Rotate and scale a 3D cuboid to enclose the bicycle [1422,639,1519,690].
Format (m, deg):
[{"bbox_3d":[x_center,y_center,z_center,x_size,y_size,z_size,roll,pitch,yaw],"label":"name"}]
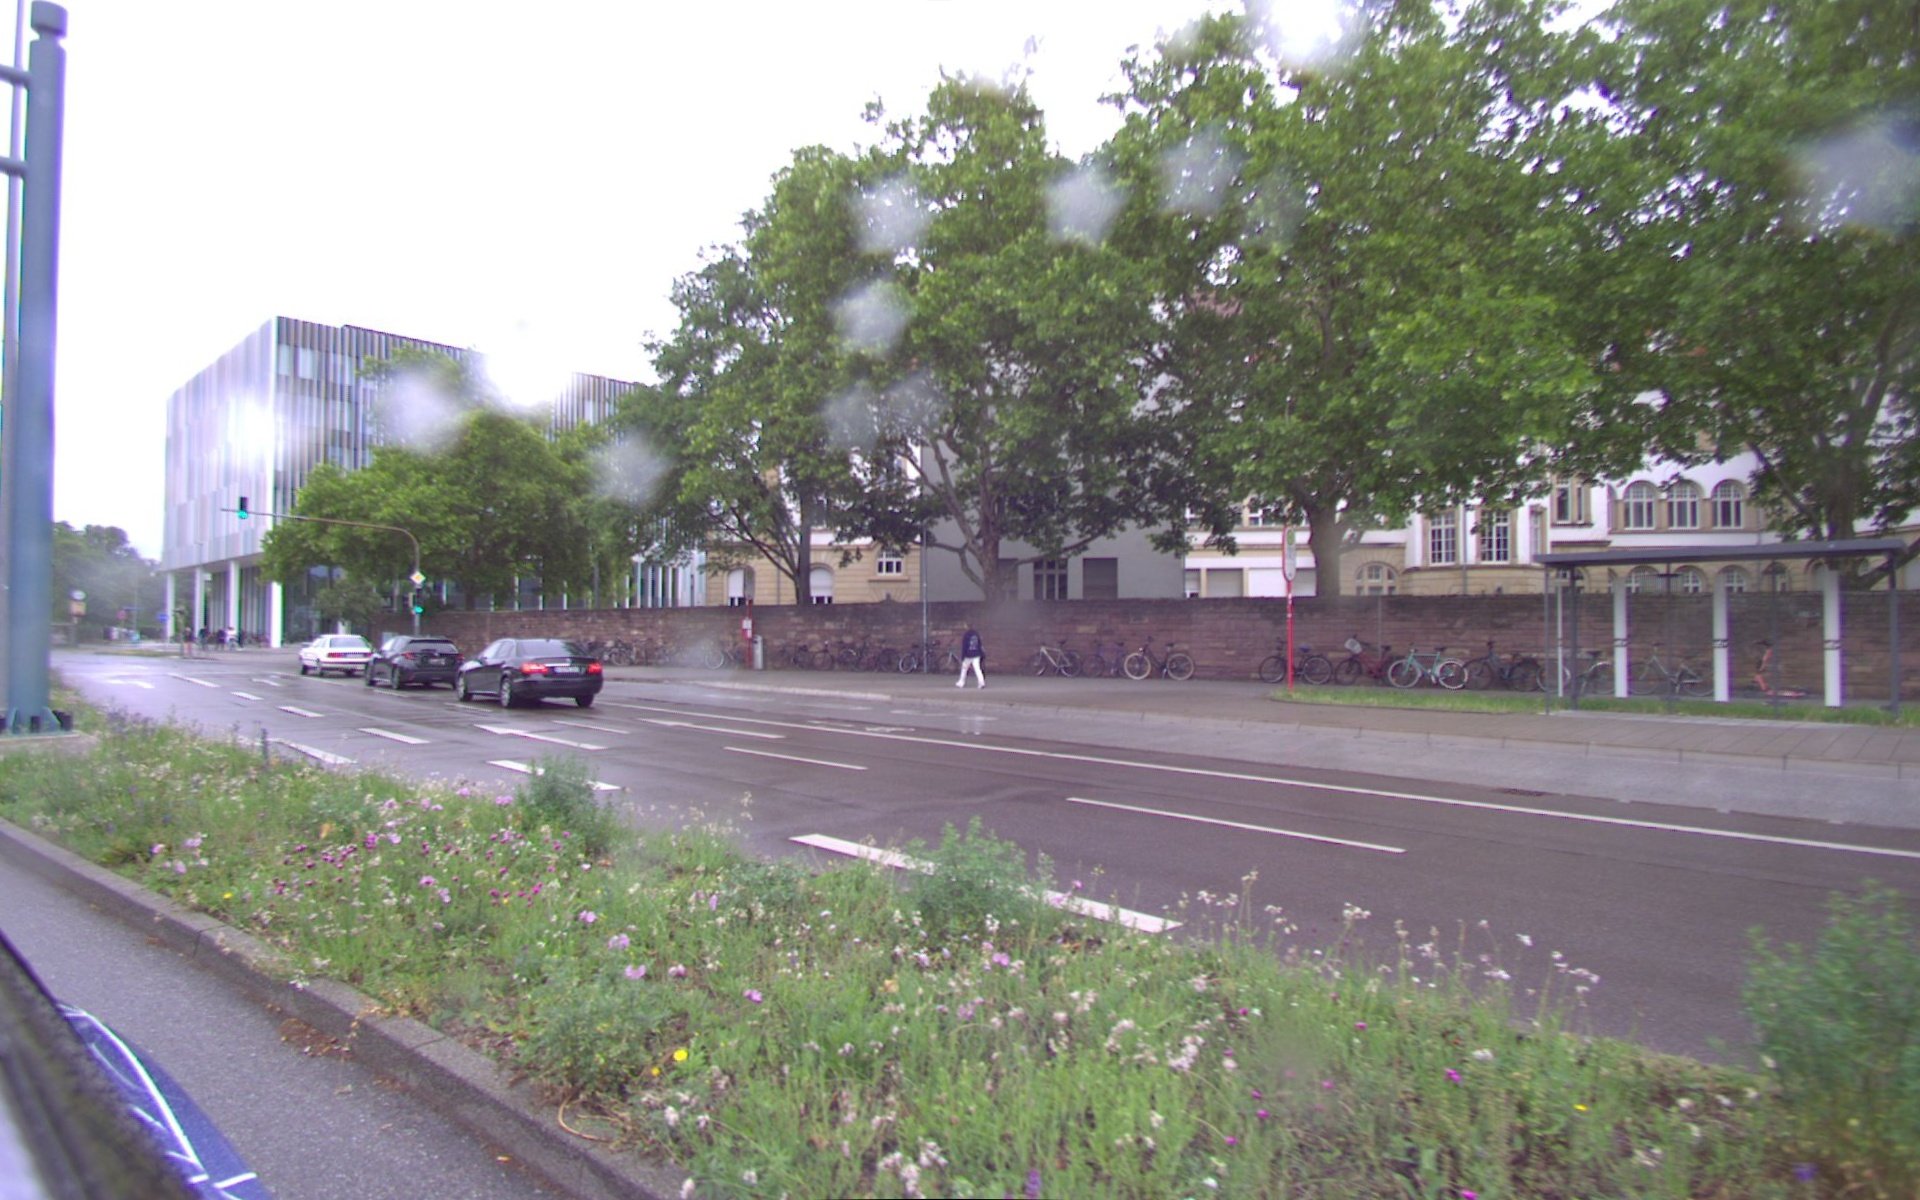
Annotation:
[{"bbox_3d":[11.868,1.483,23.565,1.983,1.144,0.569,-1,-2,30],"label":"bicycle"}]

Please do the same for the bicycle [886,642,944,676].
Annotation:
[{"bbox_3d":[-1.375,1.792,30.867,1.697,0.990,0.725,-1,-2,34],"label":"bicycle"}]

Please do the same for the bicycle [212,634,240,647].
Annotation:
[{"bbox_3d":[-72.088,3.965,99.392,2.248,1.231,0.600,1,-3,-36],"label":"bicycle"}]

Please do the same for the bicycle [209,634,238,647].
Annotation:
[{"bbox_3d":[-72.793,3.991,100.065,2.248,1.231,0.600,1,-3,-36],"label":"bicycle"}]

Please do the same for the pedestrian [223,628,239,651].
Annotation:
[{"bbox_3d":[-56.458,3.057,78.416,0.620,1.838,0.781,-1,-2,22],"label":"pedestrian"}]

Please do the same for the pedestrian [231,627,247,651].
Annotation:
[{"bbox_3d":[-55.247,2.977,77.526,0.620,1.838,0.781,-1,-2,22],"label":"pedestrian"}]

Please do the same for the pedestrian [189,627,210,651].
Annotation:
[{"bbox_3d":[-58.733,3.034,78.152,0.915,1.838,0.935,-1,-2,15],"label":"pedestrian"}]

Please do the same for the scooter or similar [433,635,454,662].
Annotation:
[{"bbox_3d":[-24.681,2.304,48.379,1.141,1.206,0.387,-2,4,40],"label":"scooter or similar"}]

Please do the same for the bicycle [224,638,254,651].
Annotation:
[{"bbox_3d":[-67.570,4.139,94.881,0.597,1.231,2.261,-2,-2,32],"label":"bicycle"}]

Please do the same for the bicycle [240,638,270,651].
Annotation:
[{"bbox_3d":[-65.243,4.093,93.686,0.597,1.231,2.261,-2,-2,32],"label":"bicycle"}]

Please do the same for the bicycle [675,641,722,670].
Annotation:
[{"bbox_3d":[-9.409,1.988,36.374,1.697,0.990,0.725,-1,-2,34],"label":"bicycle"}]

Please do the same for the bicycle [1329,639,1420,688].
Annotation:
[{"bbox_3d":[9.989,1.517,24.416,1.980,1.144,0.570,-1,-2,26],"label":"bicycle"}]

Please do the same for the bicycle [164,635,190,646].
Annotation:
[{"bbox_3d":[-87.323,4.470,112.917,2.248,1.231,0.600,1,-3,-36],"label":"bicycle"}]

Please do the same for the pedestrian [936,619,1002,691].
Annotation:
[{"bbox_3d":[0.210,1.319,24.774,1.398,1.708,0.860,-2,-2,39],"label":"pedestrian"}]

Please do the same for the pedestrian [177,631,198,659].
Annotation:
[{"bbox_3d":[-50.769,2.945,66.522,0.790,1.838,0.781,-1,-2,22],"label":"pedestrian"}]

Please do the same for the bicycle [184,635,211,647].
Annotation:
[{"bbox_3d":[-82.235,4.400,109.131,2.248,1.231,0.600,1,-3,-36],"label":"bicycle"}]

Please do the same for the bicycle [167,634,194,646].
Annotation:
[{"bbox_3d":[-85.042,4.382,110.405,2.248,1.231,0.600,1,-3,-36],"label":"bicycle"}]

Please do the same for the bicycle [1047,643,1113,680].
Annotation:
[{"bbox_3d":[3.328,1.690,28.105,1.697,0.990,0.725,-1,-2,34],"label":"bicycle"}]

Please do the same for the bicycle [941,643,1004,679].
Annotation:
[{"bbox_3d":[0.348,1.745,29.261,1.697,0.990,0.725,-1,-2,34],"label":"bicycle"}]

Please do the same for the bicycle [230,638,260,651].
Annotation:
[{"bbox_3d":[-66.604,4.117,94.302,0.597,1.231,2.261,-2,-2,32],"label":"bicycle"}]

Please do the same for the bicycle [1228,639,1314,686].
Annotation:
[{"bbox_3d":[7.811,1.556,25.434,1.980,1.144,0.570,-1,-2,26],"label":"bicycle"}]

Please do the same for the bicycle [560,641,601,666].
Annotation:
[{"bbox_3d":[-15.457,2.171,41.222,1.697,0.990,0.725,-1,-2,34],"label":"bicycle"}]

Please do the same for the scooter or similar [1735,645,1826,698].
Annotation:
[{"bbox_3d":[17.040,1.467,21.049,1.356,1.055,0.568,-1,-2,29],"label":"scooter or similar"}]

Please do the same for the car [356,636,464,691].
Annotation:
[{"bbox_3d":[-15.421,1.727,28.291,1.604,1.426,4.069,4,-4,-44],"label":"car"}]

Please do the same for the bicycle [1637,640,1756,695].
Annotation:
[{"bbox_3d":[15.760,1.434,21.719,1.983,1.144,0.569,-1,-2,30],"label":"bicycle"}]

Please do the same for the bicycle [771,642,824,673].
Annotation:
[{"bbox_3d":[-5.393,1.880,33.543,1.697,0.990,0.725,-1,-2,34],"label":"bicycle"}]

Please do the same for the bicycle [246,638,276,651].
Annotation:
[{"bbox_3d":[-64.579,4.085,93.488,0.597,1.231,2.261,-2,-2,32],"label":"bicycle"}]

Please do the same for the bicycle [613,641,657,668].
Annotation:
[{"bbox_3d":[-12.519,2.084,38.931,1.697,0.990,0.725,-1,-2,34],"label":"bicycle"}]

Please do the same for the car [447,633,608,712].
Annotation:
[{"bbox_3d":[-9.675,1.542,22.423,1.787,1.552,4.708,4,-4,-42],"label":"car"}]

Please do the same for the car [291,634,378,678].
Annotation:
[{"bbox_3d":[-21.385,1.883,34.521,1.577,1.426,4.527,4,-4,-44],"label":"car"}]

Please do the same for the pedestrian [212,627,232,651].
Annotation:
[{"bbox_3d":[-57.524,3.058,78.881,0.917,1.838,0.933,-1,-2,22],"label":"pedestrian"}]

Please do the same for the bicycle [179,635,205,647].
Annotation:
[{"bbox_3d":[-83.405,4.452,109.904,2.248,1.231,0.600,1,-3,-36],"label":"bicycle"}]

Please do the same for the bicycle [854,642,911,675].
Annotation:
[{"bbox_3d":[-2.436,1.823,31.706,1.697,0.990,0.725,-1,-2,34],"label":"bicycle"}]

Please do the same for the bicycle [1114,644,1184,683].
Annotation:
[{"bbox_3d":[5.020,1.673,26.890,1.697,0.990,0.725,-1,-2,34],"label":"bicycle"}]

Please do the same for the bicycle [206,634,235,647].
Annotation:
[{"bbox_3d":[-73.584,4.016,100.737,2.248,1.231,0.600,1,-3,-36],"label":"bicycle"}]

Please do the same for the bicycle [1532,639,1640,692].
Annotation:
[{"bbox_3d":[13.845,1.440,22.454,1.983,1.144,0.569,-1,-2,30],"label":"bicycle"}]

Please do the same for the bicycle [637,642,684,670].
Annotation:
[{"bbox_3d":[-11.040,2.066,37.322,1.862,0.990,0.724,-2,-2,39],"label":"bicycle"}]

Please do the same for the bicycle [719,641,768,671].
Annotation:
[{"bbox_3d":[-7.549,1.945,35.270,1.697,0.990,0.725,-1,-2,34],"label":"bicycle"}]

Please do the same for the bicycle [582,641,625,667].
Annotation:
[{"bbox_3d":[-14.014,2.118,39.802,1.697,0.990,0.725,-1,-2,34],"label":"bicycle"}]

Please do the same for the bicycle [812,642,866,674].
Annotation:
[{"bbox_3d":[-3.904,1.843,32.628,1.697,0.990,0.725,-1,-2,34],"label":"bicycle"}]
